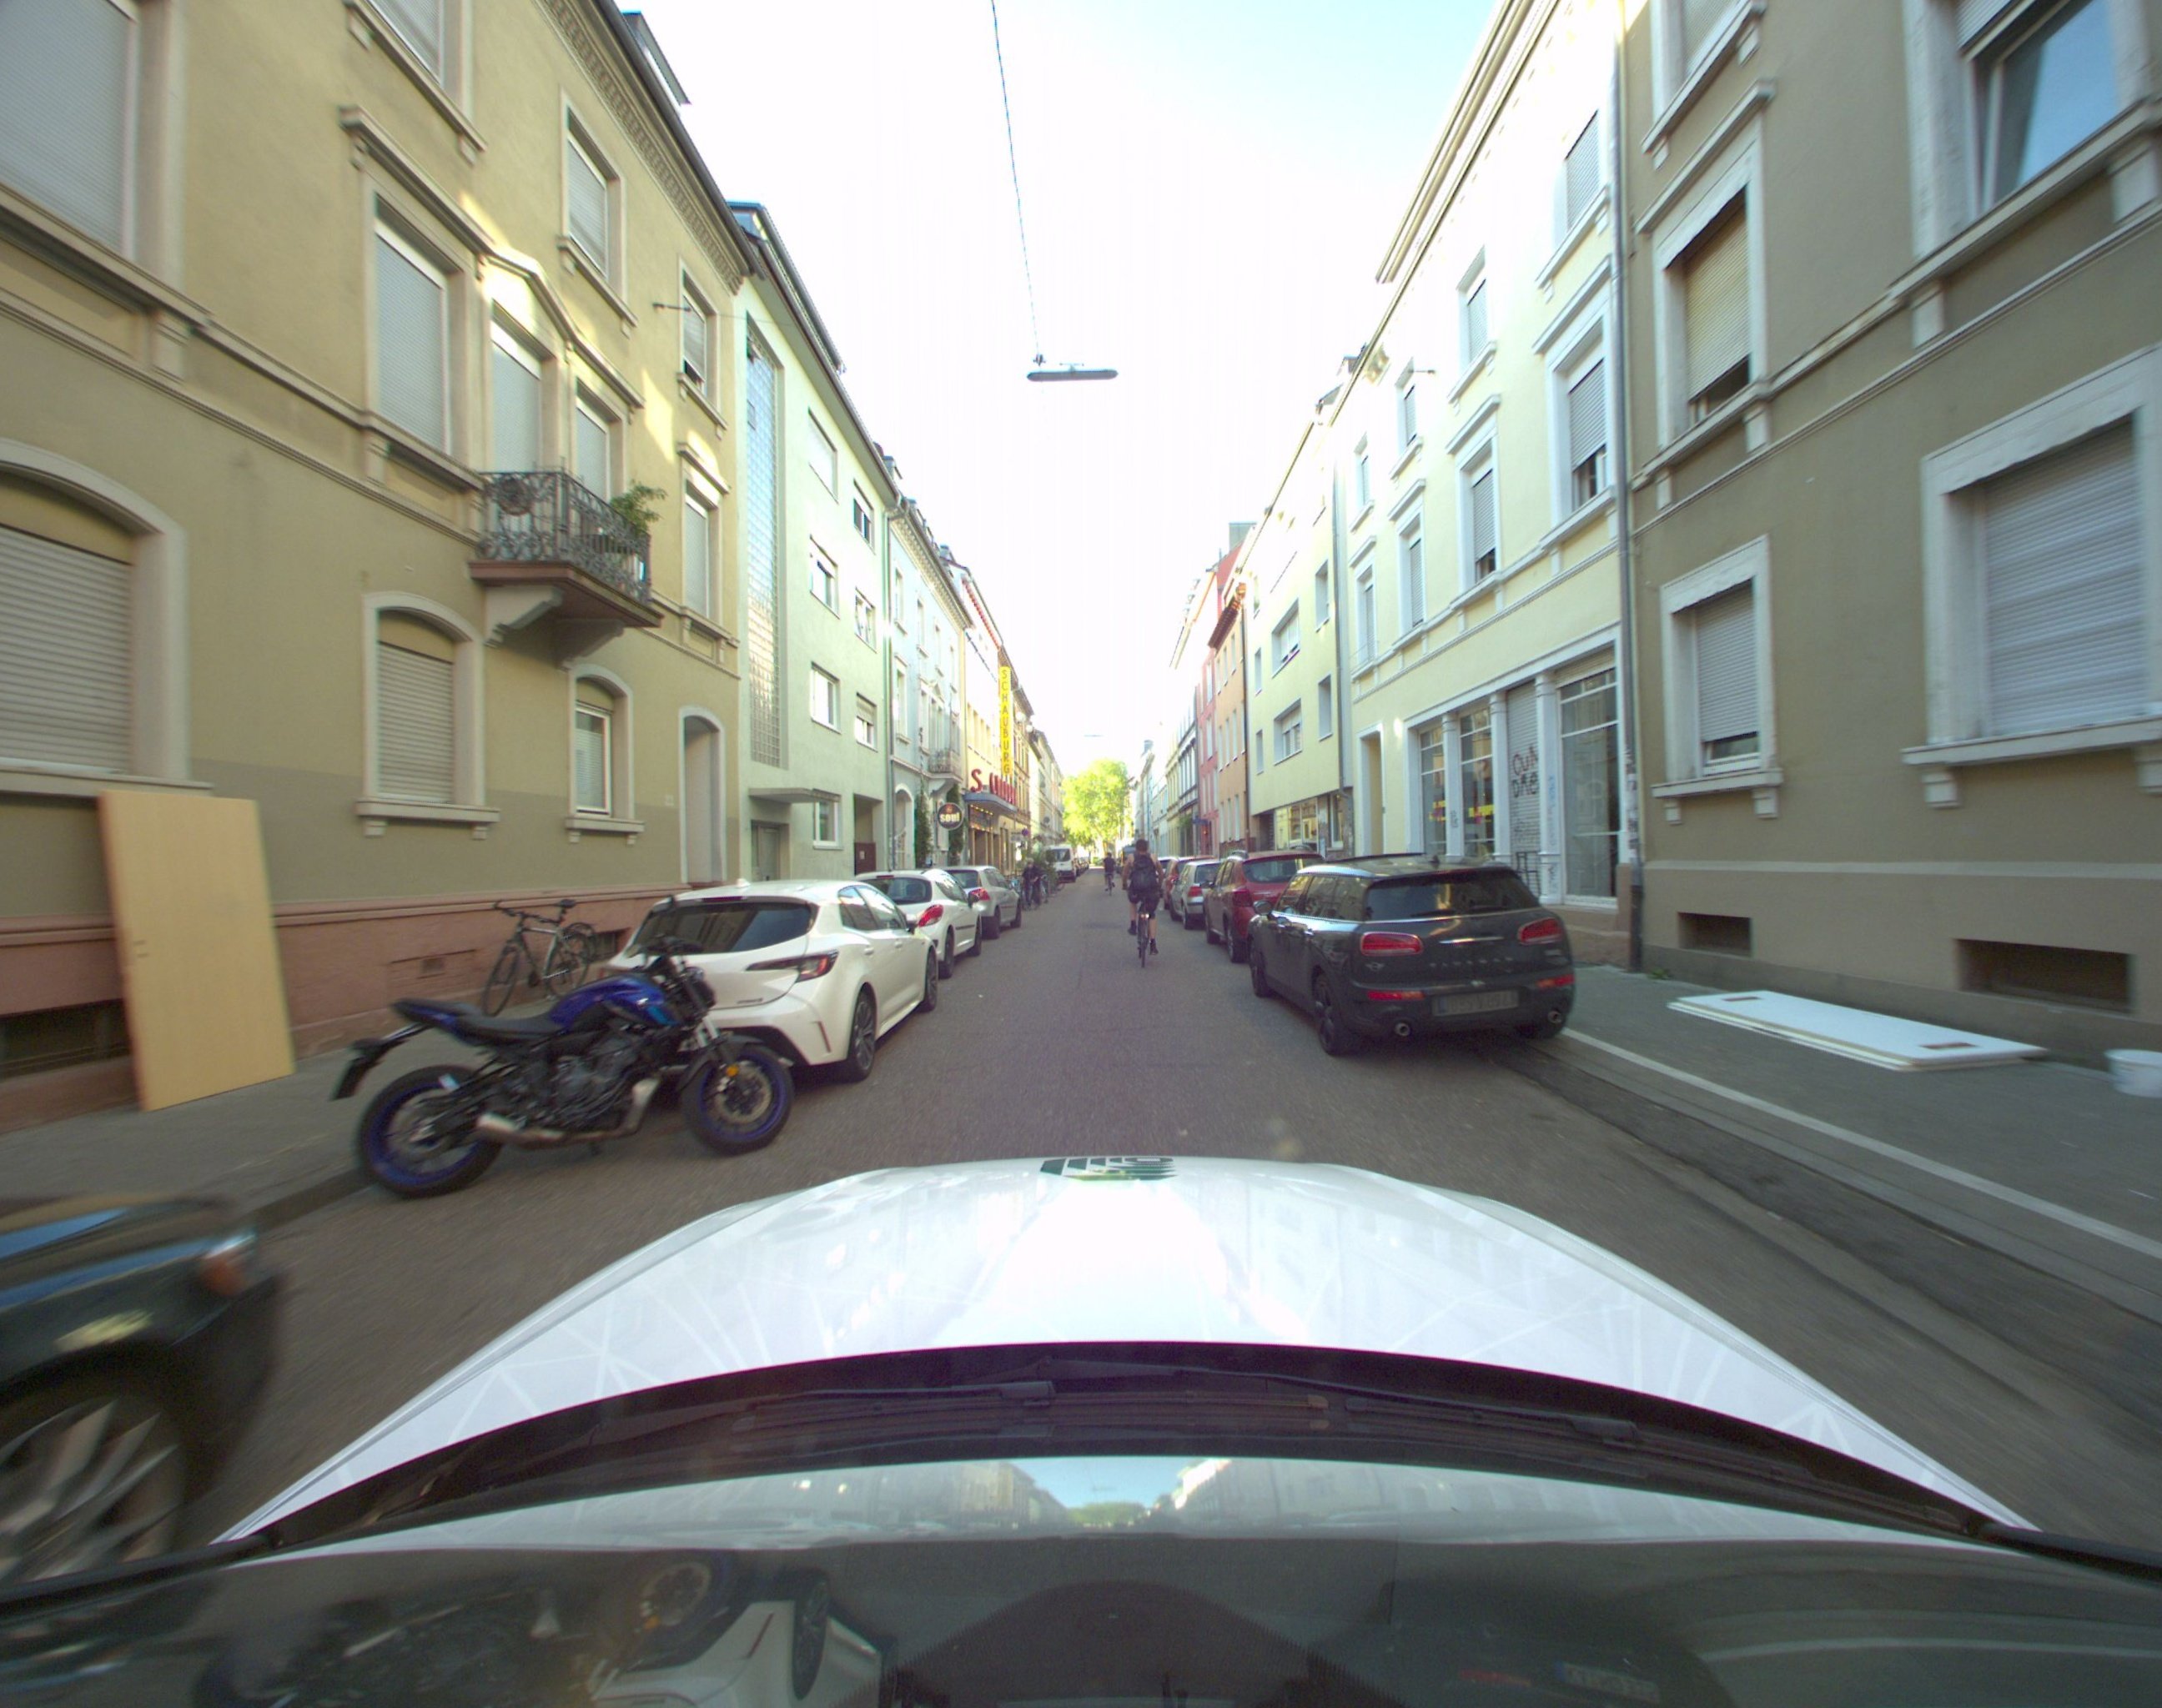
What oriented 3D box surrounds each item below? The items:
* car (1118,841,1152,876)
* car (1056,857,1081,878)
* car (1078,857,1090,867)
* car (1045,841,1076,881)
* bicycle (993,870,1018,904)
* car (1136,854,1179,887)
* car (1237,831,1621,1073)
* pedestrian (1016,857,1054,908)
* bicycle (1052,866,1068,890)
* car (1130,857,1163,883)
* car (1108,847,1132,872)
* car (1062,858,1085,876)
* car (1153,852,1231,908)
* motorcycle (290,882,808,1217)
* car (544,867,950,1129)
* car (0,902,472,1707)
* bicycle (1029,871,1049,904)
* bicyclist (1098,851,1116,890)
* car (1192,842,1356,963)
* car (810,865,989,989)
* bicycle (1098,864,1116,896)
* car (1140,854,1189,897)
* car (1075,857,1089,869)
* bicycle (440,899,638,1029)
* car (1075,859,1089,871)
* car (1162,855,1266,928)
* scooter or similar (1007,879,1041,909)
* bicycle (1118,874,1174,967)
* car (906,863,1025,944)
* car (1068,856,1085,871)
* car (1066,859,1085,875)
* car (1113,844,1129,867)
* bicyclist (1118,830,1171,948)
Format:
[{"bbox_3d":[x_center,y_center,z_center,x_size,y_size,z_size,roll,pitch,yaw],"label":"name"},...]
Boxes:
[{"bbox_3d":[4.283,0.411,65.700,2.299,2.538,6.771,-4,-1,1],"label":"car"},{"bbox_3d":[-0.898,1.032,61.299,1.666,1.442,4.166,-4,-1,1],"label":"car"},{"bbox_3d":[0.510,1.168,122.699,1.666,1.442,4.166,-4,-1,1],"label":"car"},{"bbox_3d":[-1.354,0.438,54.331,1.904,2.497,4.164,-2,0,-1],"label":"car"},{"bbox_3d":[-2.687,1.168,29.243,0.756,1.134,2.272,0,-1,-2],"label":"bicycle"},{"bbox_3d":[3.578,0.763,38.668,1.704,1.393,4.001,-4,-1,1],"label":"car"},{"bbox_3d":[2.719,0.682,7.482,1.810,1.521,4.001,-4,-1,1],"label":"car"},{"bbox_3d":[-1.449,0.886,25.660,0.904,1.578,0.765,0,-1,-35],"label":"pedestrian"},{"bbox_3d":[-1.068,1.168,41.015,0.756,1.163,2.272,0,-1,-2],"label":"bicycle"},{"bbox_3d":[4.005,0.951,49.982,1.704,1.447,4.001,-4,-1,1],"label":"car"},{"bbox_3d":[4.333,0.678,91.153,2.299,2.538,6.771,-4,-1,1],"label":"car"},{"bbox_3d":[-0.617,1.091,68.799,1.666,1.442,4.166,-4,-1,1],"label":"car"},{"bbox_3d":[3.122,0.719,23.589,1.704,1.383,4.001,-4,-1,1],"label":"car"},{"bbox_3d":[-2.642,0.921,4.327,2.152,1.359,0.537,-4,0,-17],"label":"motorcycle"},{"bbox_3d":[-2.339,0.893,6.963,1.667,1.442,4.164,-4,-1,0],"label":"car"},{"bbox_3d":[-2.743,0.879,0.182,1.703,1.383,4.360,-2,1,3],"label":"car"},{"bbox_3d":[-1.483,1.174,29.117,0.698,1.105,2.272,0,-1,-2],"label":"bicycle"},{"bbox_3d":[1.072,0.677,33.938,0.699,1.605,0.813,-2,0,1],"label":"bicyclist"},{"bbox_3d":[2.919,0.686,13.192,1.704,1.556,4.001,-4,-1,1],"label":"car"},{"bbox_3d":[-2.502,0.947,12.147,1.666,1.442,3.768,-4,-1,1],"label":"car"},{"bbox_3d":[1.069,1.057,34.054,0.699,1.208,2.342,-2,1,1],"label":"bicycle"},{"bbox_3d":[3.338,0.863,33.214,1.615,1.550,4.001,-4,-1,1],"label":"car"},{"bbox_3d":[0.150,1.260,110.122,1.666,1.442,4.166,-4,-1,1],"label":"car"},{"bbox_3d":[-5.467,1.050,8.406,0.590,1.089,2.079,0,-1,2],"label":"bicycle"},{"bbox_3d":[0.143,1.391,102.893,1.666,1.442,4.166,-4,-1,1],"label":"car"},{"bbox_3d":[2.894,0.782,18.484,1.704,1.383,4.001,-4,-1,1],"label":"car"},{"bbox_3d":[-1.778,1.240,25.431,0.774,0.873,0.765,0,-1,-35],"label":"scooter or similar"},{"bbox_3d":[0.917,0.909,11.965,0.699,1.208,2.343,0,-1,2],"label":"bicycle"},{"bbox_3d":[-2.328,0.963,17.338,1.664,1.442,3.757,-4,-1,4],"label":"car"},{"bbox_3d":[-0.449,1.050,87.366,1.666,1.442,4.166,-4,-1,1],"label":"car"},{"bbox_3d":[-0.557,1.304,81.338,1.666,1.442,4.166,-4,-1,1],"label":"car"},{"bbox_3d":[6.795,0.322,138.525,2.299,3.768,6.771,-4,-1,1],"label":"car"},{"bbox_3d":[0.903,0.490,11.785,0.699,1.633,1.090,0,-1,1],"label":"bicyclist"}]
